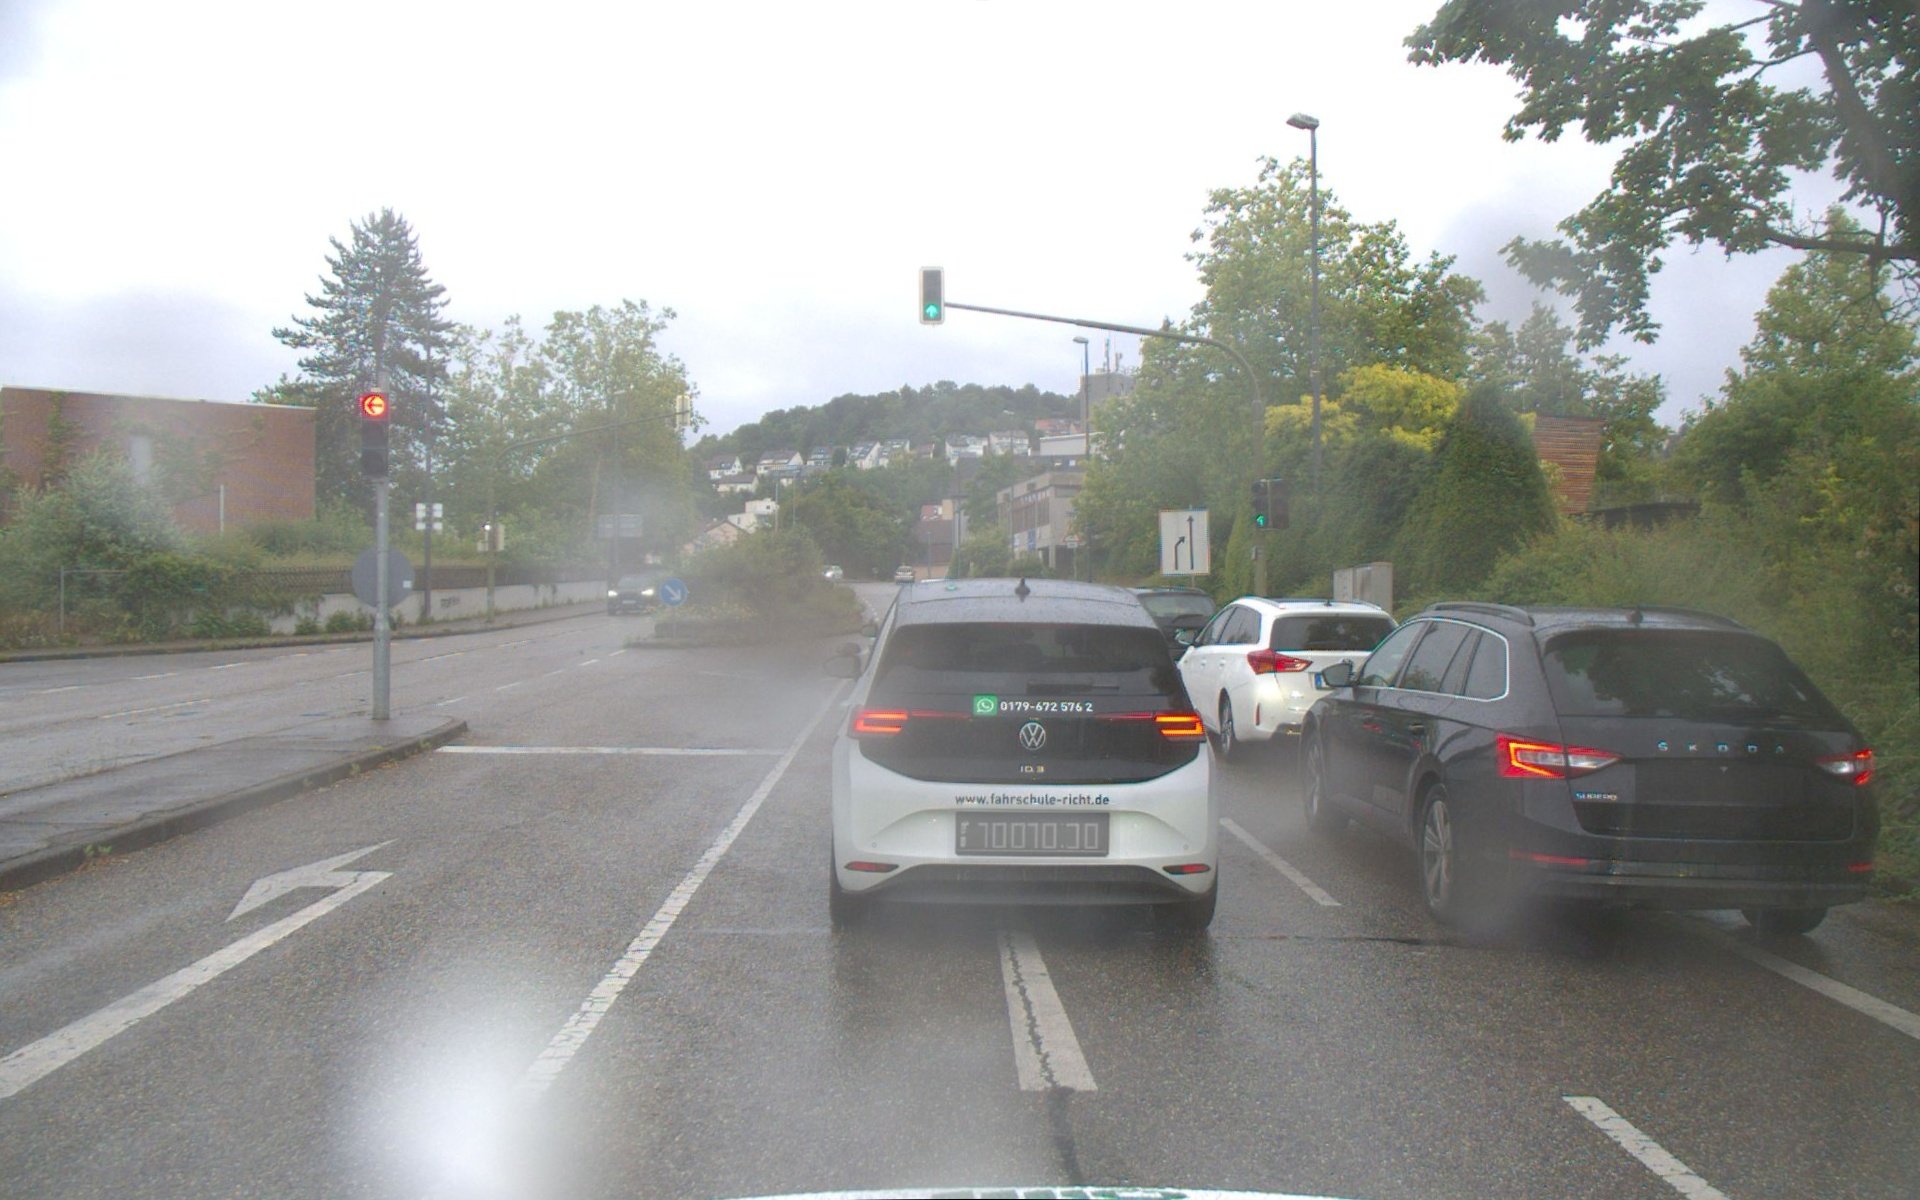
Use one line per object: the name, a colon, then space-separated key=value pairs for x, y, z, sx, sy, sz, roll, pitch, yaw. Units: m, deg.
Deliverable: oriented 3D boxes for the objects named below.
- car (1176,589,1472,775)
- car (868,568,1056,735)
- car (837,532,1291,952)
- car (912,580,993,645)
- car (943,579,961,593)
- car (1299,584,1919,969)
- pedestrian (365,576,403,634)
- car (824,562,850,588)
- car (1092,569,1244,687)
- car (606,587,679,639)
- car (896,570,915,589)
car: x=3.297 y=0.668 z=15.799 sx=1.800 sy=1.492 sz=4.116 roll=1 pitch=1 yaw=-1
car: x=-0.029 y=0.482 z=18.236 sx=1.800 sy=1.582 sz=4.174 roll=1 pitch=1 yaw=-1
car: x=0.371 y=0.555 z=8.989 sx=1.800 sy=1.657 sz=4.614 roll=1 pitch=1 yaw=-1
car: x=-0.212 y=0.264 z=39.211 sx=1.800 sy=1.424 sz=3.830 roll=1 pitch=1 yaw=-1
car: x=-0.868 y=-1.491 z=174.625 sx=1.726 sy=1.443 sz=3.747 roll=-1 pitch=1 yaw=-3
car: x=3.143 y=0.687 z=8.782 sx=1.800 sy=1.492 sz=4.350 roll=1 pitch=1 yaw=1
pedestrian: x=-16.202 y=0.136 z=46.550 sx=0.744 sy=1.595 sz=0.825 roll=-2 pitch=0 yaw=-2
car: x=-10.403 y=-2.071 z=140.205 sx=1.953 sy=2.049 sz=3.999 roll=1 pitch=-1 yaw=-1
car: x=3.062 y=0.391 z=25.072 sx=1.739 sy=1.609 sz=3.999 roll=1 pitch=0 yaw=-1
car: x=-12.012 y=0.468 z=62.843 sx=1.953 sy=1.836 sz=3.999 roll=-3 pitch=0 yaw=-1
car: x=-4.598 y=-1.733 z=138.754 sx=1.549 sy=1.492 sz=3.998 roll=-1 pitch=0 yaw=-2
